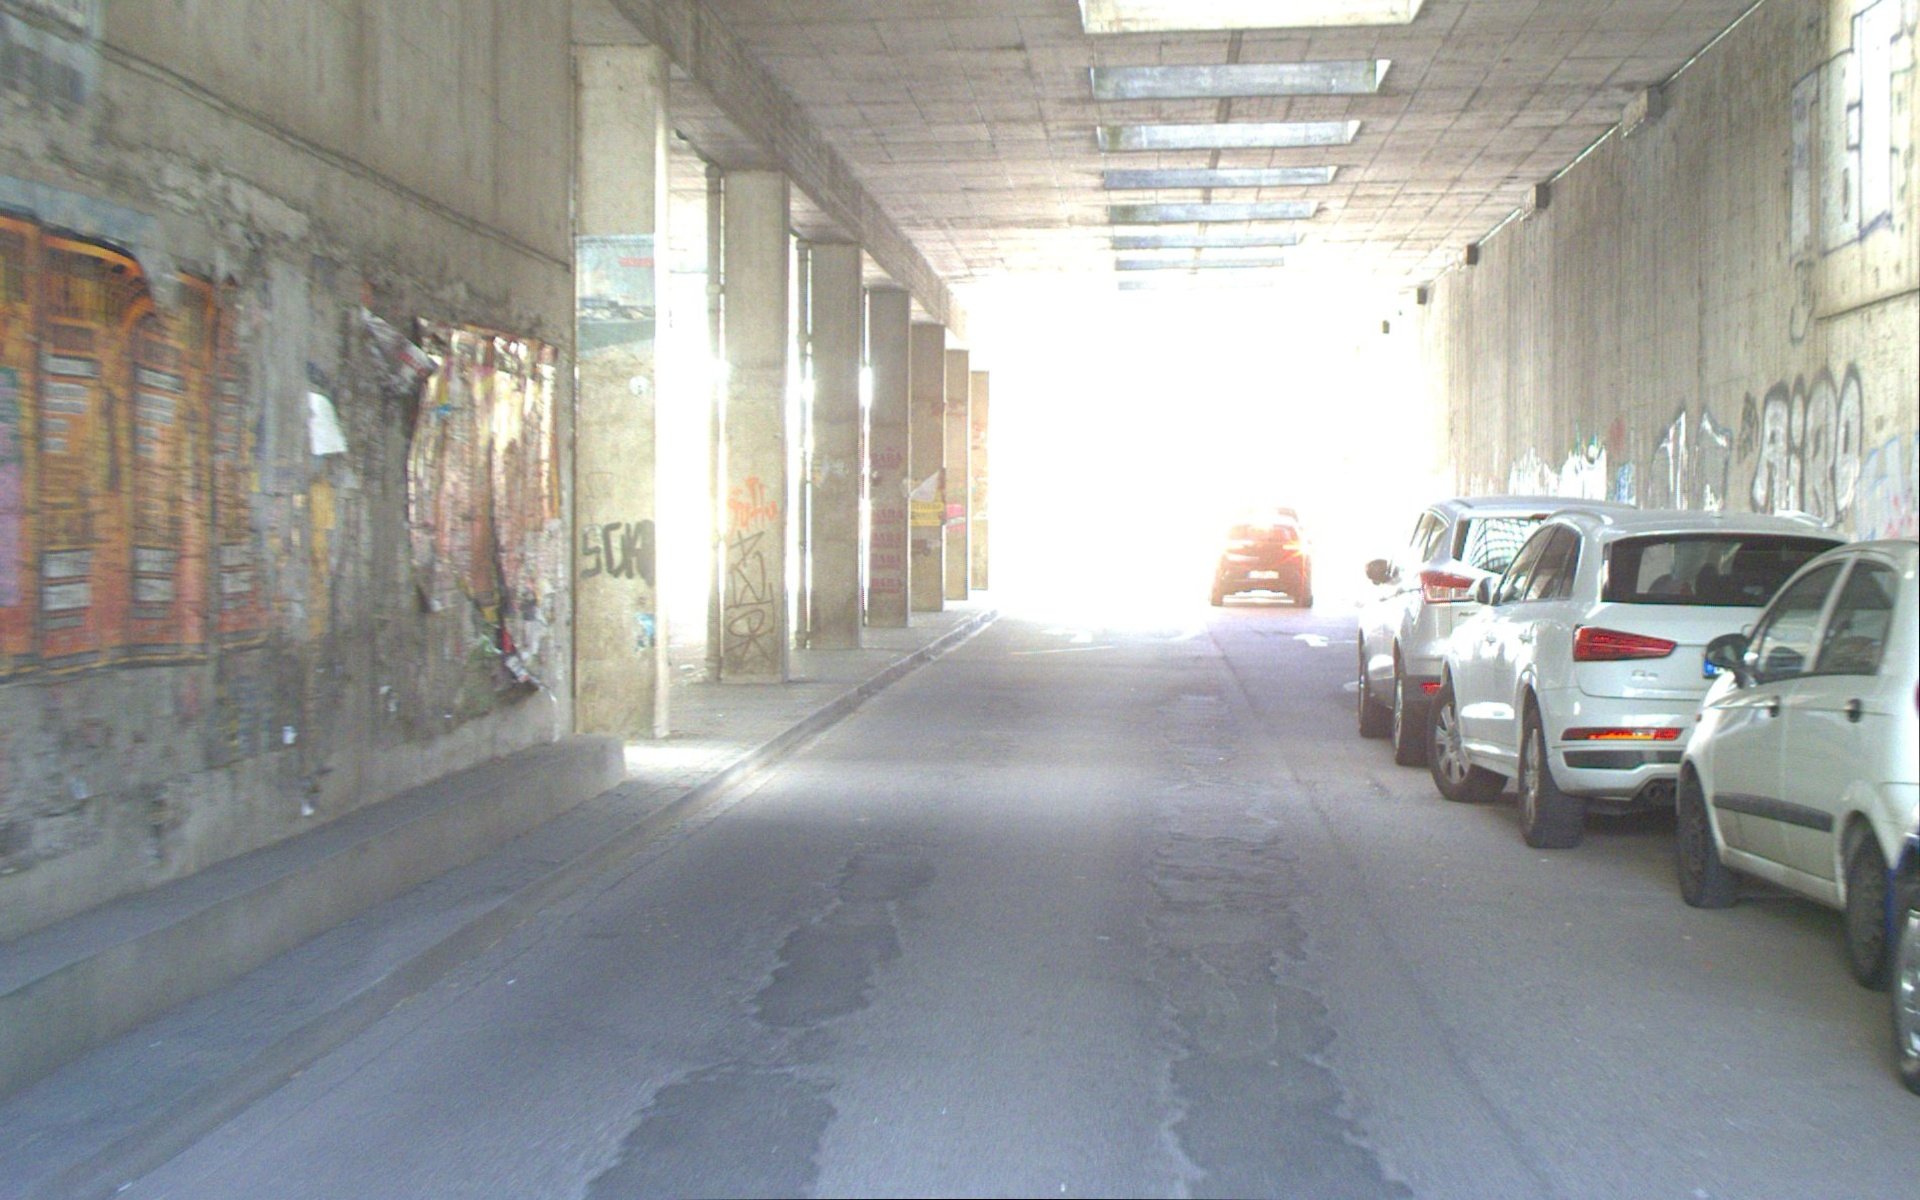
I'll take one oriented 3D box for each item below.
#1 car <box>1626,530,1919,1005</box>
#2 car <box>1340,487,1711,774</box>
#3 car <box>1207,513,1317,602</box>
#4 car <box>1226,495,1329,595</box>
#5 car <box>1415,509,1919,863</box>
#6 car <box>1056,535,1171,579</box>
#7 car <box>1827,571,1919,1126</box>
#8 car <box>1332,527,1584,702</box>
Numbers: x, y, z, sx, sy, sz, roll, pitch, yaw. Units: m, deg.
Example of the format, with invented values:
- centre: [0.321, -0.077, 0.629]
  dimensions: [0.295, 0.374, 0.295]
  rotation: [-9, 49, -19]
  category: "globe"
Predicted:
- centre: [3.639, 0.496, 12.557]
  dimensions: [1.603, 1.482, 3.638]
  rotation: [0, 1, -2]
  category: "car"
- centre: [3.582, 0.107, 22.516]
  dimensions: [1.853, 1.660, 4.371]
  rotation: [1, 2, 2]
  category: "car"
- centre: [5.283, -0.777, 60.521]
  dimensions: [1.826, 1.496, 4.211]
  rotation: [0, 2, 4]
  category: "car"
- centre: [6.164, -1.105, 67.126]
  dimensions: [1.815, 1.876, 4.585]
  rotation: [0, 2, 3]
  category: "car"
- centre: [3.411, 0.343, 17.084]
  dimensions: [1.729, 1.541, 4.156]
  rotation: [0, 1, 0]
  category: "car"
- centre: [5.539, -1.554, 123.691]
  dimensions: [3.988, 1.568, 1.639]
  rotation: [1, 1, 8]
  category: "car"
- centre: [3.298, 0.657, 7.782]
  dimensions: [1.761, 1.406, 4.063]
  rotation: [0, 1, 2]
  category: "car"
- centre: [4.248, 0.070, 29.886]
  dimensions: [1.701, 1.369, 4.373]
  rotation: [1, 1, 2]
  category: "car"
